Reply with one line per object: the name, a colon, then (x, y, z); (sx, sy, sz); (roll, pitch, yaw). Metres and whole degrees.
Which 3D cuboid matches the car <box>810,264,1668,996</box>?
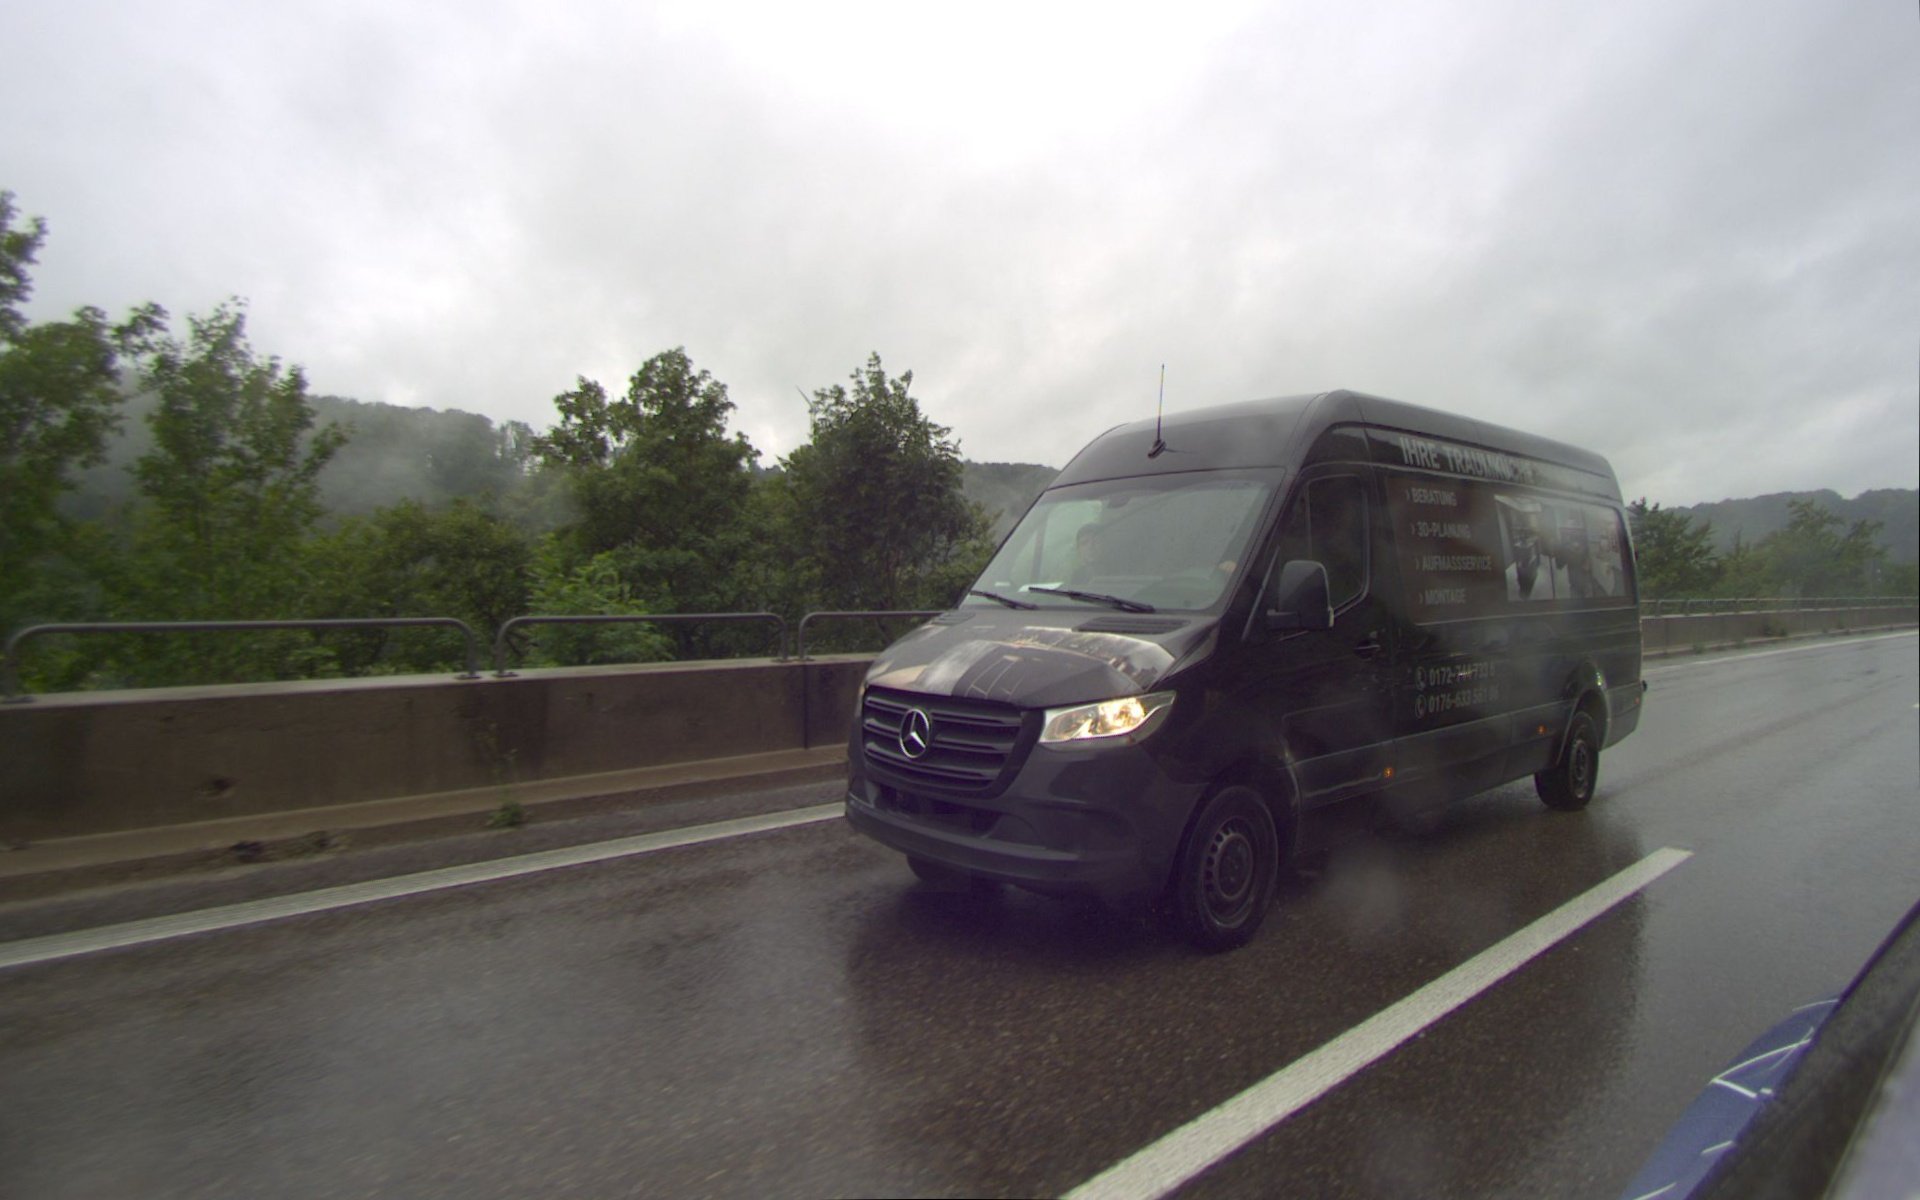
car: (2.378, 0.060, 6.442); (6.589, 2.525, 1.997); (0, 1, -42)
